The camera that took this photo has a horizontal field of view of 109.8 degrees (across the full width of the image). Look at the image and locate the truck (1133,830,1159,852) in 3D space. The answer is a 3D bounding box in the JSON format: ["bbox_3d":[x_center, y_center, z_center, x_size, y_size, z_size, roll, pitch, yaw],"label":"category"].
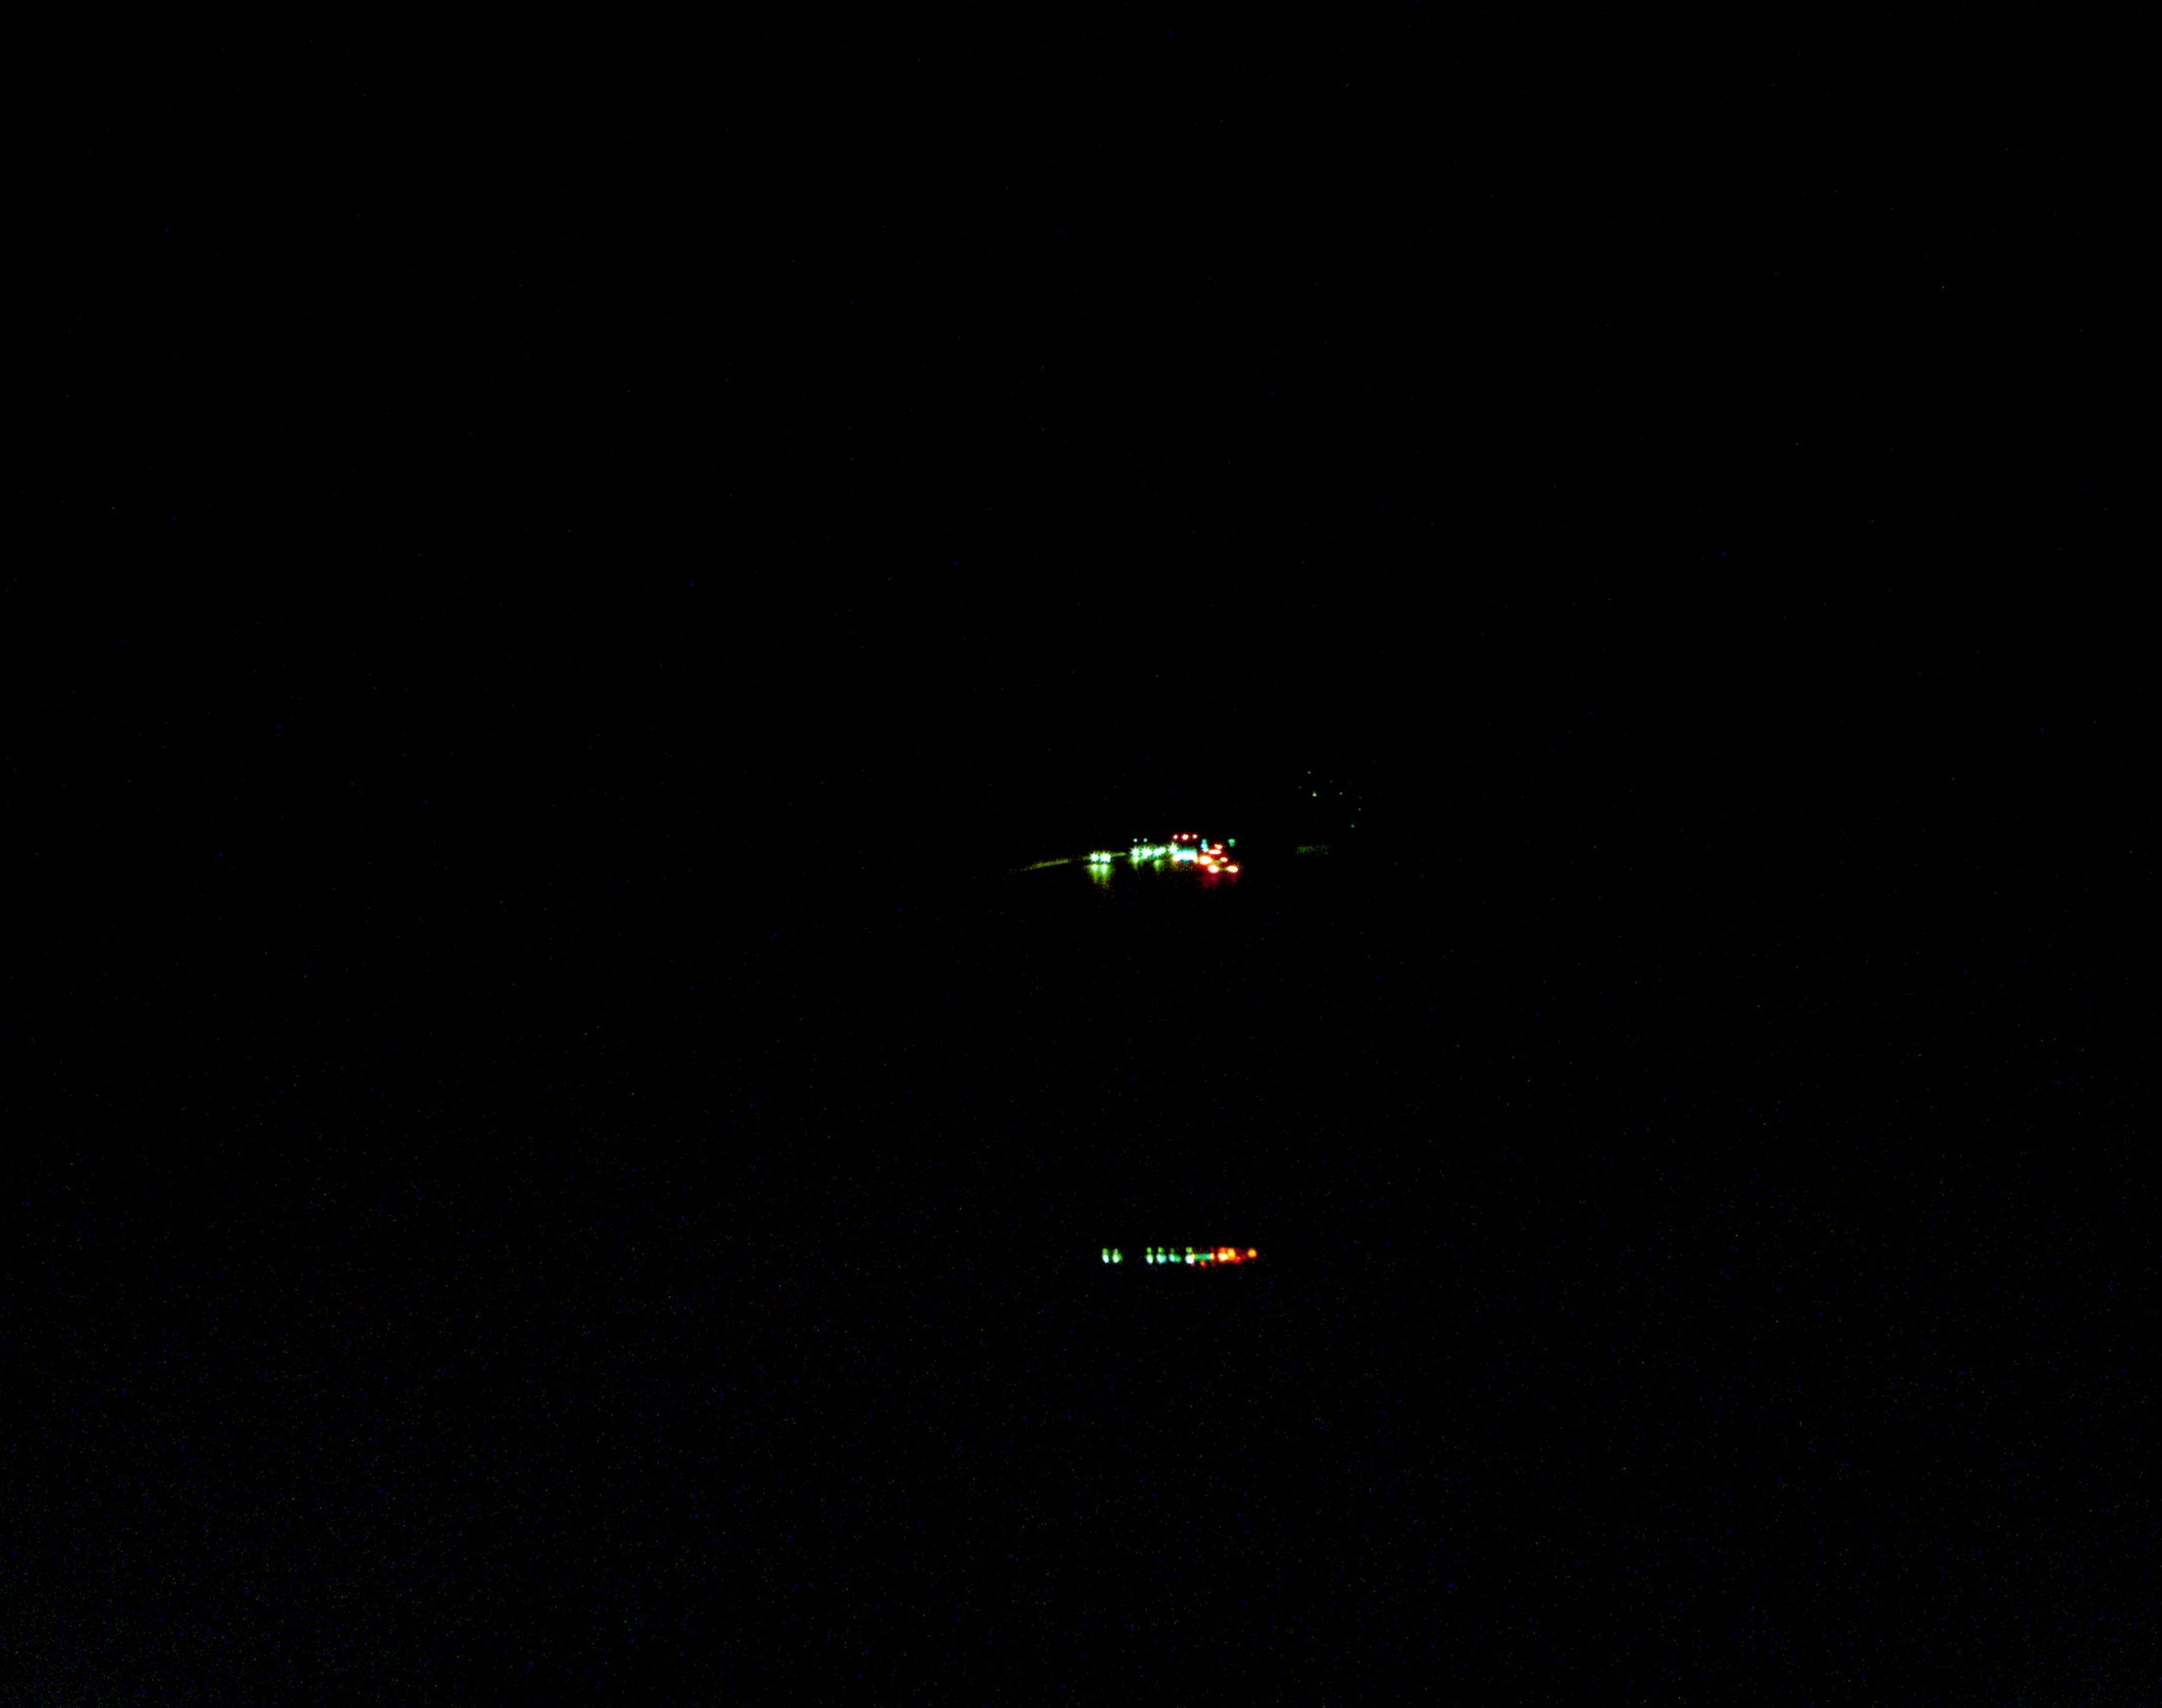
[{"bbox_3d":[13.614,-2.747,156.745,2.969,4.251,17.157,-1,2,13],"label":"truck"}]

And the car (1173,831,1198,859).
[{"bbox_3d":[12.206,-1.151,89.133,2.491,3.088,7.386,-1,2,5],"label":"car"}]

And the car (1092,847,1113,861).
[{"bbox_3d":[2.473,0.003,87.528,1.811,1.508,3.938,-1,0,10],"label":"car"}]

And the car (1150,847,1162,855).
[{"bbox_3d":[13.704,-0.580,139.124,1.811,1.508,3.938,-1,0,10],"label":"car"}]

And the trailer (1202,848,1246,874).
[{"bbox_3d":[8.063,0.387,43.199,1.888,1.418,3.351,-1,0,1],"label":"trailer"}]

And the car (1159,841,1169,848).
[{"bbox_3d":[19.639,-2.227,179.760,1.689,1.619,4.727,-1,0,14],"label":"car"}]

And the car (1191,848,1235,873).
[{"bbox_3d":[8.158,0.365,47.350,1.917,1.418,4.952,-1,0,1],"label":"car"}]

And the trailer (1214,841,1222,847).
[{"bbox_3d":[38.823,-2.939,215.374,2.016,1.630,3.419,-1,2,10],"label":"trailer"}]

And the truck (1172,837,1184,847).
[{"bbox_3d":[24.765,-3.001,194.046,2.424,2.411,7.096,-1,1,11],"label":"truck"}]
